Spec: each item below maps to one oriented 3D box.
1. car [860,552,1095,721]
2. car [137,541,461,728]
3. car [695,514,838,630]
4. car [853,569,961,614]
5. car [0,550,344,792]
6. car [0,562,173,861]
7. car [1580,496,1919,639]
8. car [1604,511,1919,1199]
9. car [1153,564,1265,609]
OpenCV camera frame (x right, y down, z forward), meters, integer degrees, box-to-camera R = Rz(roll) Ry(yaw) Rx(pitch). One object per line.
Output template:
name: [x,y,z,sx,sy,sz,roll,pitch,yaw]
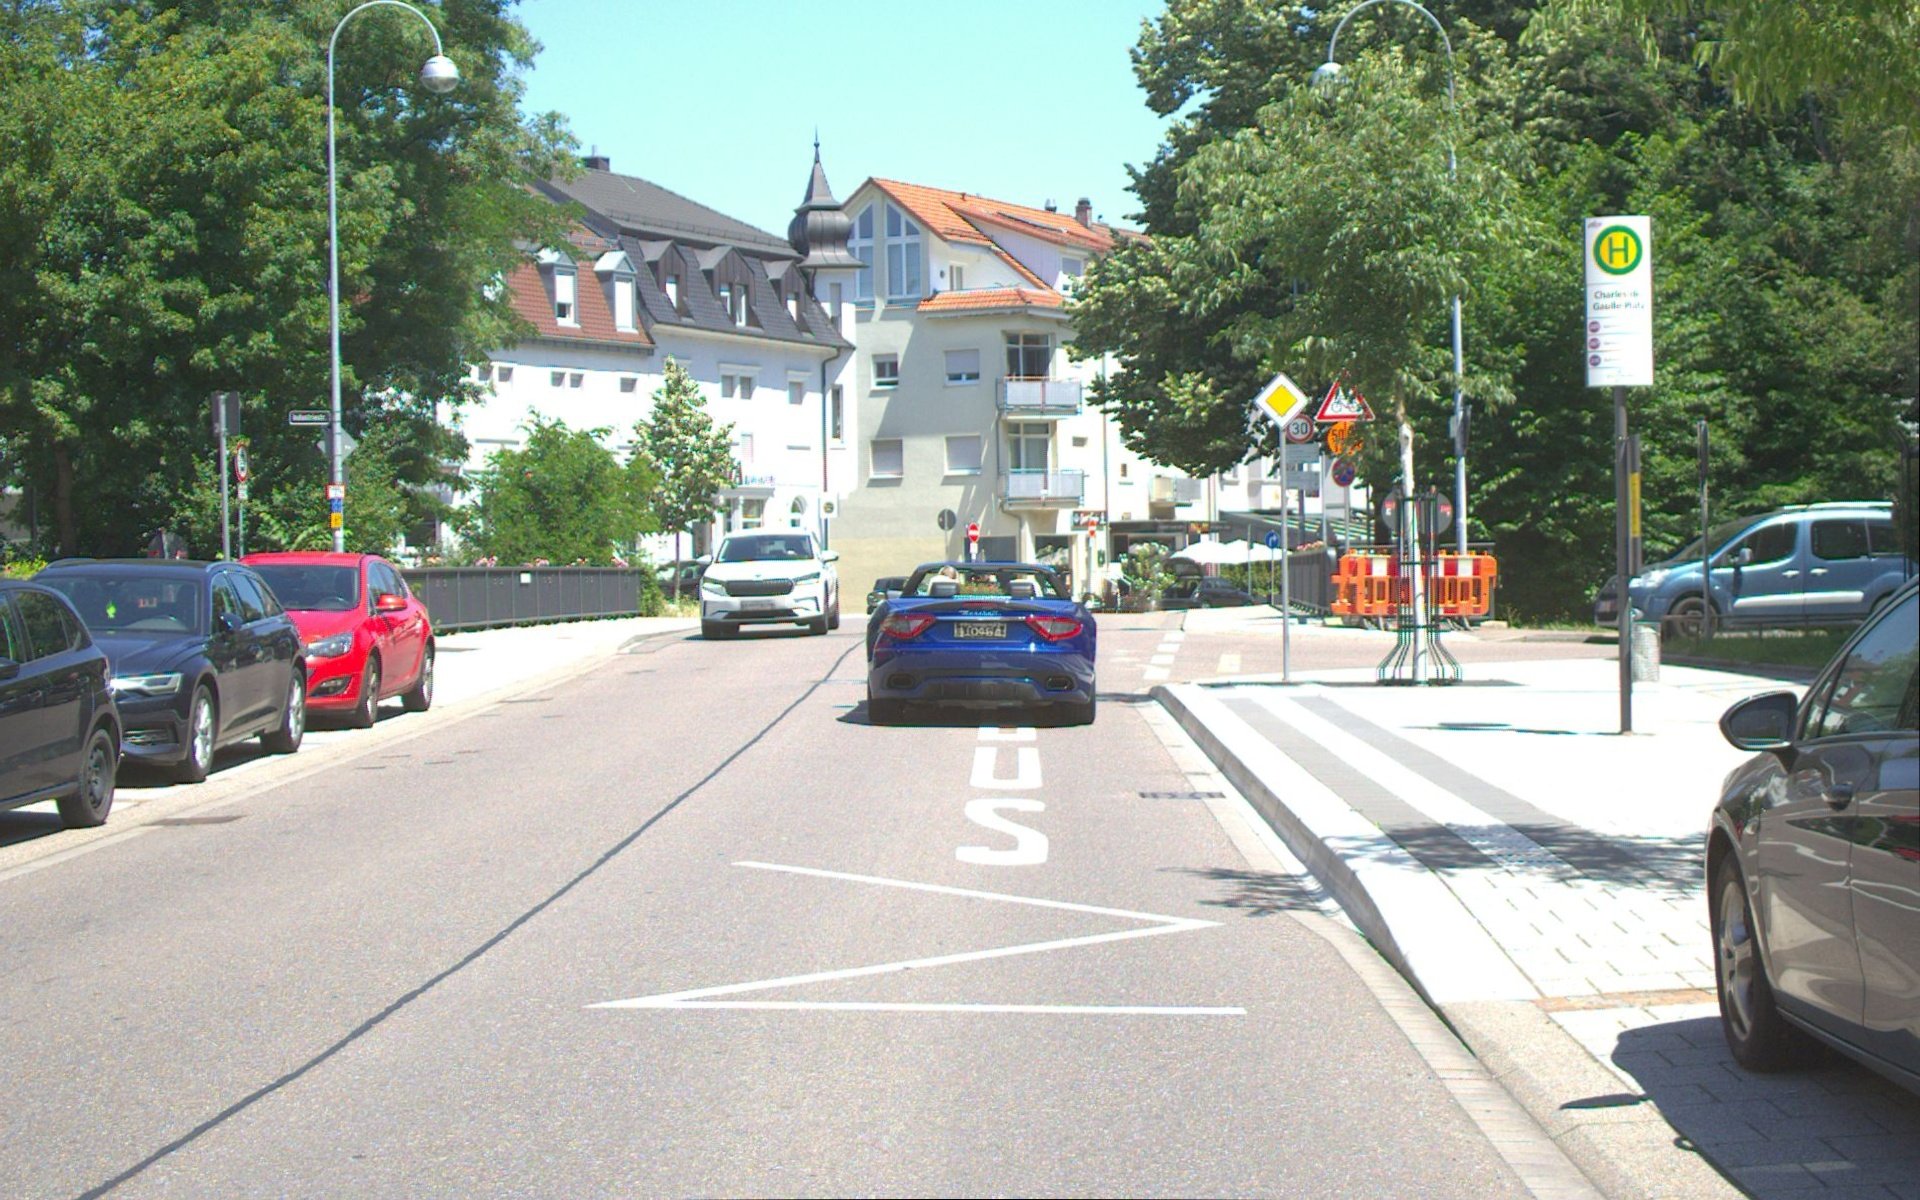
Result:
car: [0.183,0.270,29.580,1.870,1.337,4.596,0,1,1]
car: [-5.786,0.243,30.667,1.877,1.474,4.738,1,1,1]
car: [-2.875,-0.445,51.849,1.877,1.591,4.360,-3,1,0]
car: [-1.810,-0.293,117.919,3.266,1.453,1.690,-1,0,24]
car: [-5.863,0.420,24.748,1.863,1.456,5.307,1,2,0]
car: [-5.738,0.567,18.313,1.788,1.454,4.197,2,2,5]
car: [10.579,-0.422,45.476,4.336,1.832,1.750,0,0,-7]
car: [2.898,0.531,7.955,1.833,1.499,5.064,-3,1,1]
car: [8.418,-0.444,115.943,1.716,1.455,4.120,2,1,39]
